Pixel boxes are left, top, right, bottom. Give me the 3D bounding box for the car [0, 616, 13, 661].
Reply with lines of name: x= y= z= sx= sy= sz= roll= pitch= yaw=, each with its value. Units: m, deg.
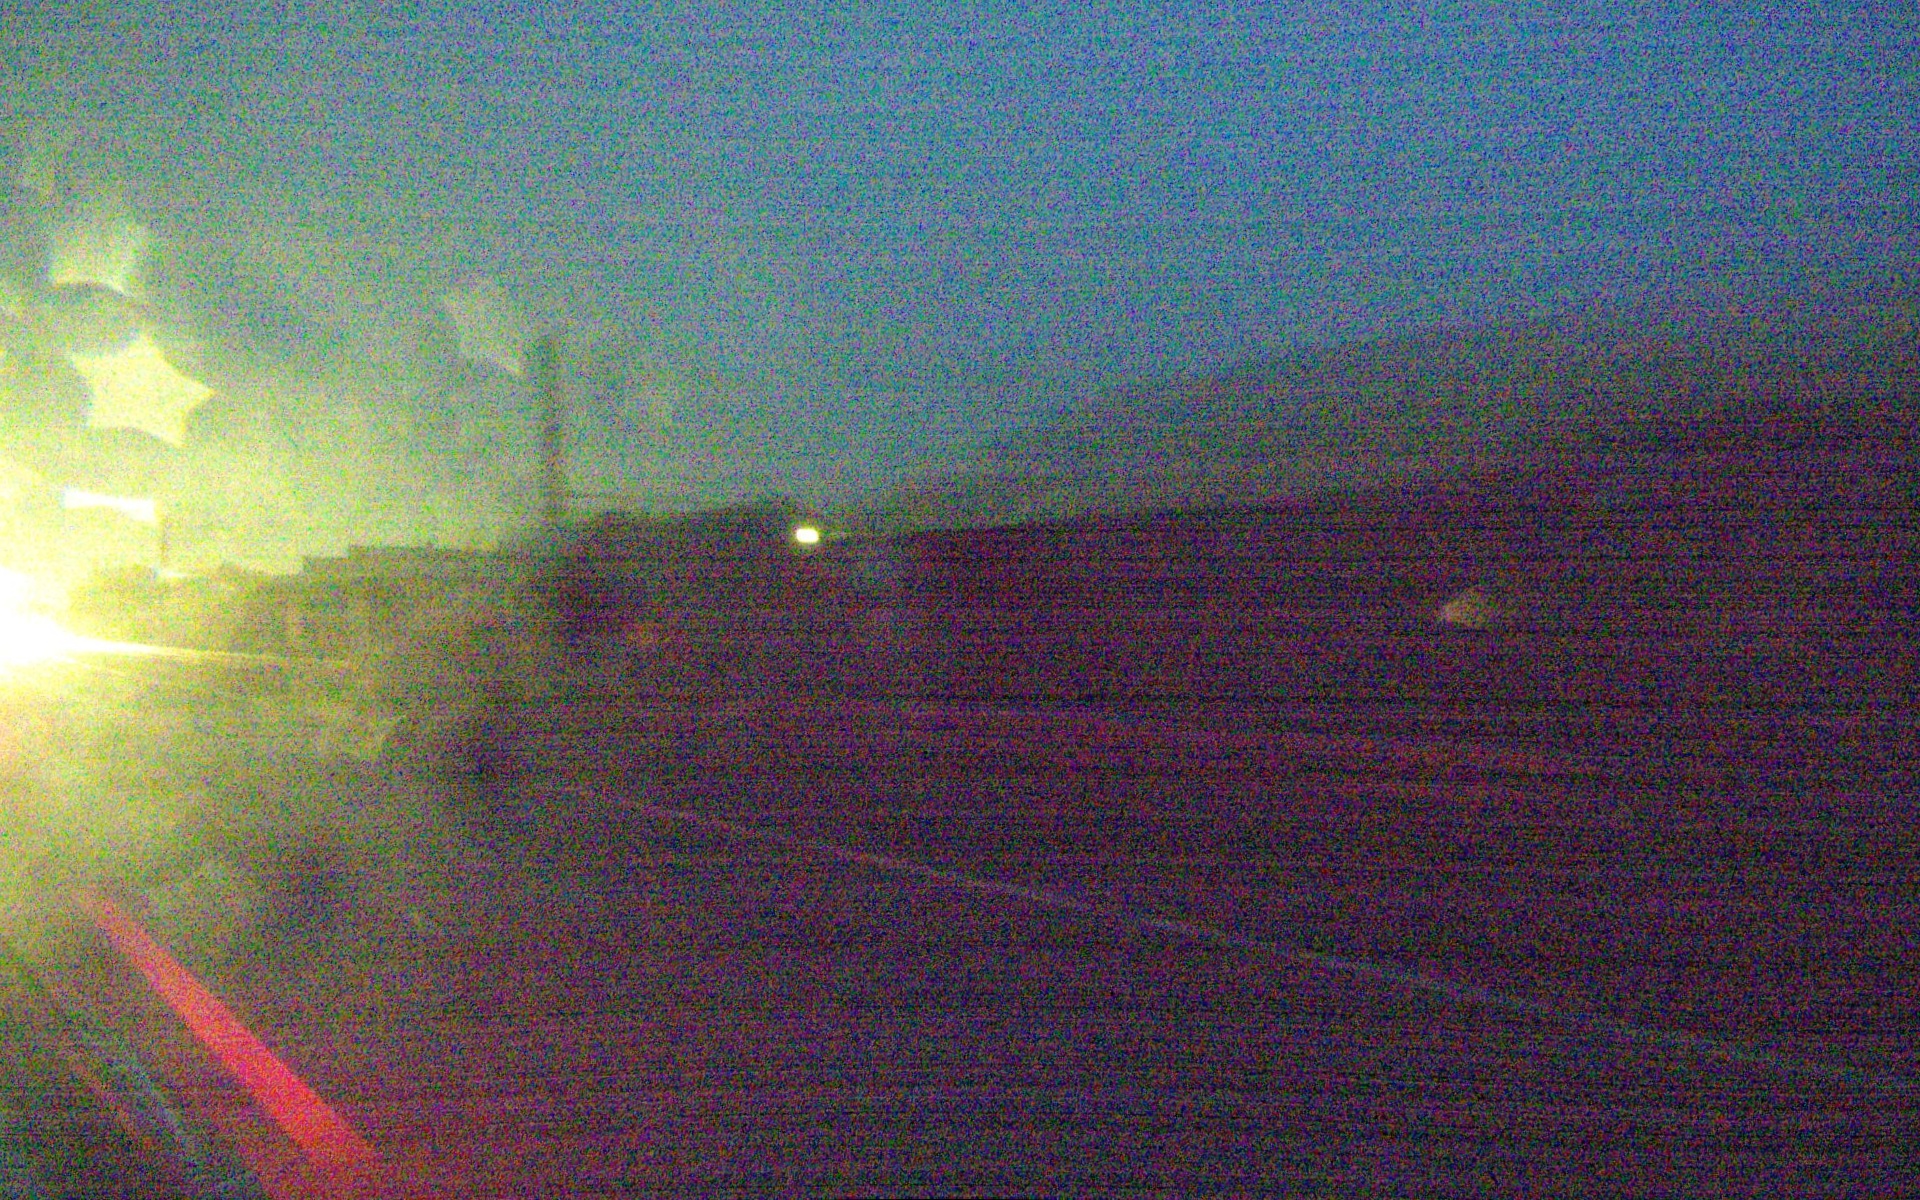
car: x=-36.640 y=1.432 z=37.622 sx=4.026 sy=1.658 sz=1.899 roll=-2 pitch=-1 yaw=44
